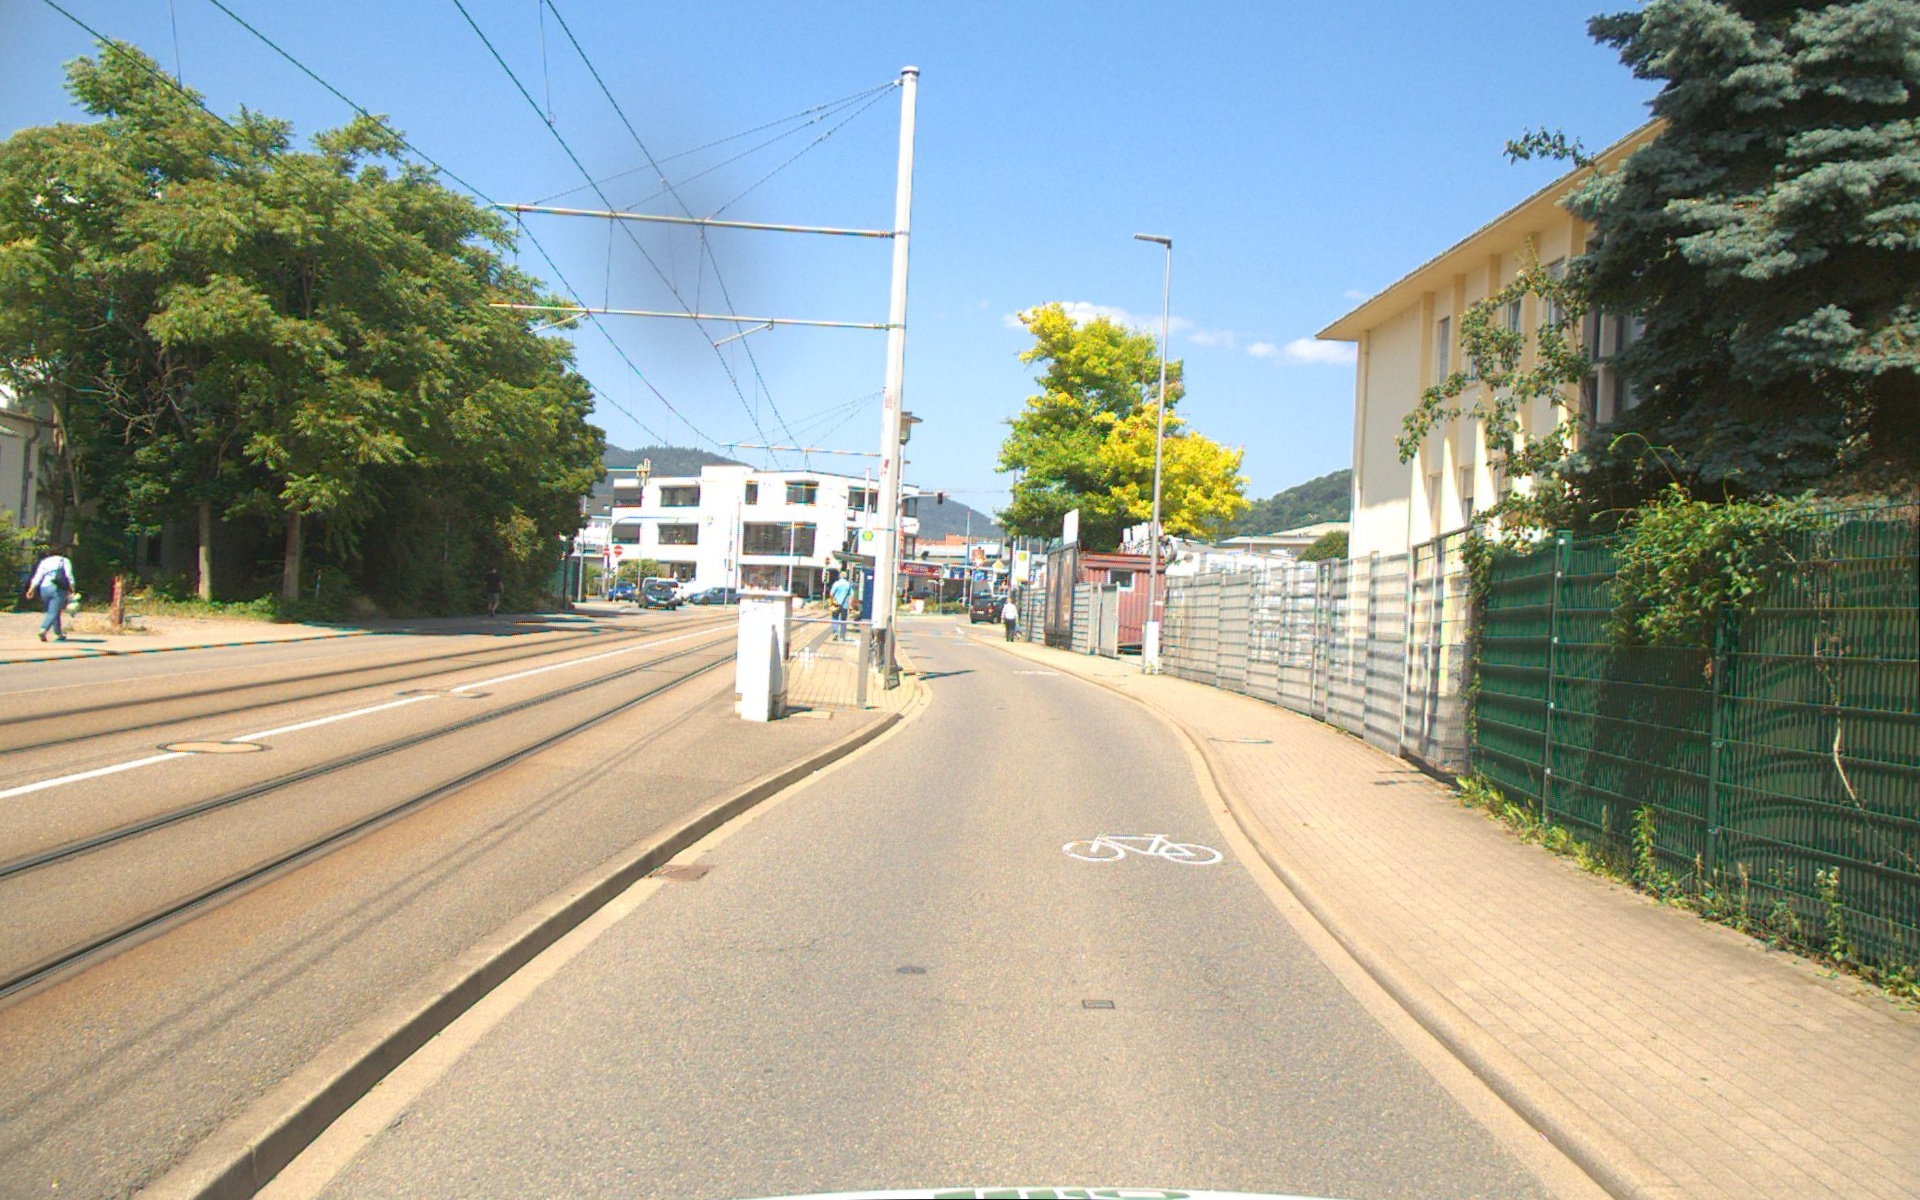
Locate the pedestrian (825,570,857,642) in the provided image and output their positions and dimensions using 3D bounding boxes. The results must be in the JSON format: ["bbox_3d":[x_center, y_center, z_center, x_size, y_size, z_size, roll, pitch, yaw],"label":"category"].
[{"bbox_3d":[-3.003,0.149,41.885,0.728,1.771,0.727,2,0,-4],"label":"pedestrian"}]

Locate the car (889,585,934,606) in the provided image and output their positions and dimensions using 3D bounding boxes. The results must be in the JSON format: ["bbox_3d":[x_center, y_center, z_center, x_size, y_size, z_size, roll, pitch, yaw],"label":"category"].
[{"bbox_3d":[-4.343,-0.404,148.869,1.706,1.691,3.973,2,0,44],"label":"car"}]

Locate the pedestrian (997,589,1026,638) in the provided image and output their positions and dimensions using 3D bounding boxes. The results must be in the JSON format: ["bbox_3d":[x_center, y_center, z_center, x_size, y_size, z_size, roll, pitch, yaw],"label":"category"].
[{"bbox_3d":[1.995,0.507,63.943,0.921,1.818,0.952,3,1,-4],"label":"pedestrian"}]

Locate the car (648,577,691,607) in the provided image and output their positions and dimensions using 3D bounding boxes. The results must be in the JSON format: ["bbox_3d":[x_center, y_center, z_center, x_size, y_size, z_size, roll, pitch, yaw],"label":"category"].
[{"bbox_3d":[-16.377,-0.459,93.361,1.750,1.579,3.999,2,0,-1],"label":"car"}]

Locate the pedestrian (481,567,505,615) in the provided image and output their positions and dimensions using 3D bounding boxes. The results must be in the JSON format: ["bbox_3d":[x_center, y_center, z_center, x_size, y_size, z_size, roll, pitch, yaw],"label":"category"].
[{"bbox_3d":[-15.712,-0.302,55.636,0.572,1.564,0.656,2,0,-4],"label":"pedestrian"}]

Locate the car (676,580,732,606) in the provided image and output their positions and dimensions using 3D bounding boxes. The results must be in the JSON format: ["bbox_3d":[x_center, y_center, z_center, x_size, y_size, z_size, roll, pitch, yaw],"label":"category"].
[{"bbox_3d":[-18.763,-0.521,121.244,3.829,1.709,1.724,2,0,-15],"label":"car"}]

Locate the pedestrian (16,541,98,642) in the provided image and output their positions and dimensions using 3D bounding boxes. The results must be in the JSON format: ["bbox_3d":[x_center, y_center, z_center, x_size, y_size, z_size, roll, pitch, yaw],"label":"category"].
[{"bbox_3d":[-14.440,-0.132,26.480,0.818,1.564,0.838,2,0,-4],"label":"pedestrian"}]

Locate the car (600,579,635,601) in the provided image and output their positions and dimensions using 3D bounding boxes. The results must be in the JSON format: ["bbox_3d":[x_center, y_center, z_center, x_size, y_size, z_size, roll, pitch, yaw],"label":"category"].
[{"bbox_3d":[-24.586,-0.714,118.666,1.731,1.515,3.737,2,0,-22],"label":"car"}]

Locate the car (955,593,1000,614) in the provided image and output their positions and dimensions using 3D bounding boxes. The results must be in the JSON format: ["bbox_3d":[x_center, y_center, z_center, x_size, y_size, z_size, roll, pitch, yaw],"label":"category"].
[{"bbox_3d":[1.544,0.282,147.060,1.832,1.691,3.976,2,0,42],"label":"car"}]

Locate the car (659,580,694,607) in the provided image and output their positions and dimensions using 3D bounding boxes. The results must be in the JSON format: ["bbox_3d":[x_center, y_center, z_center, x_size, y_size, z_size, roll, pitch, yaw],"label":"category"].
[{"bbox_3d":[-18.533,-0.456,107.931,1.728,1.676,3.743,2,0,-17],"label":"car"}]
